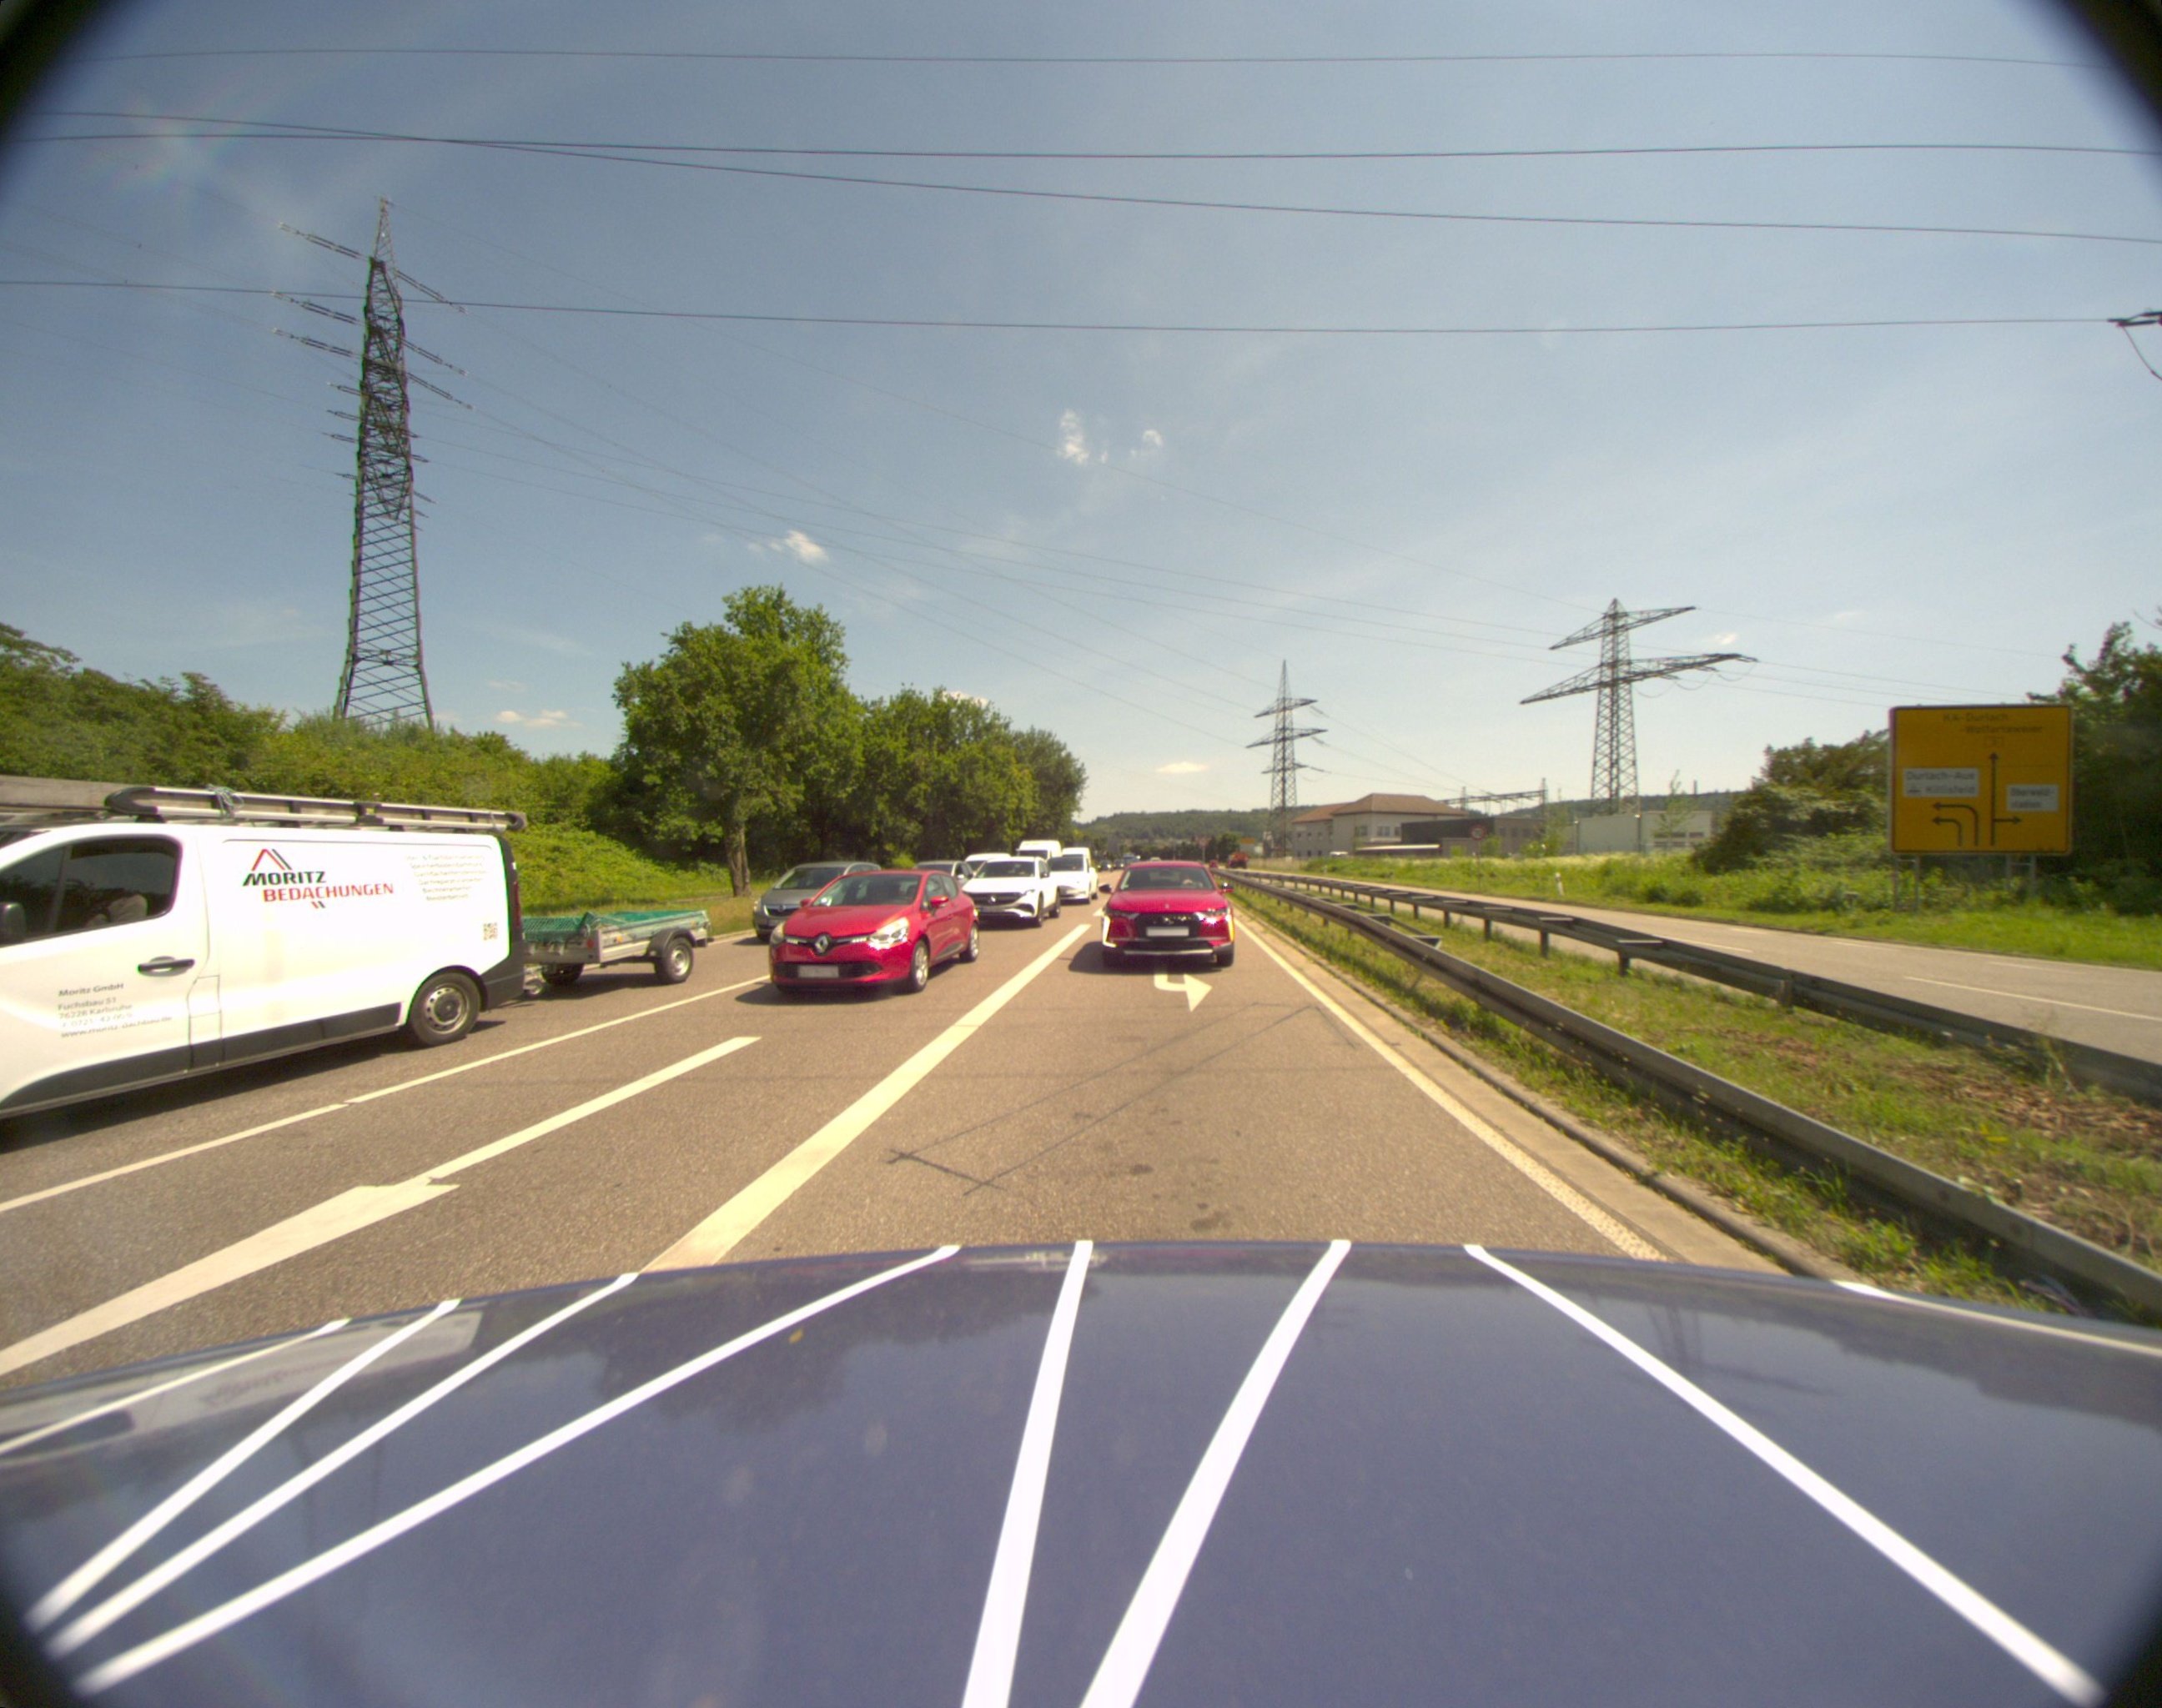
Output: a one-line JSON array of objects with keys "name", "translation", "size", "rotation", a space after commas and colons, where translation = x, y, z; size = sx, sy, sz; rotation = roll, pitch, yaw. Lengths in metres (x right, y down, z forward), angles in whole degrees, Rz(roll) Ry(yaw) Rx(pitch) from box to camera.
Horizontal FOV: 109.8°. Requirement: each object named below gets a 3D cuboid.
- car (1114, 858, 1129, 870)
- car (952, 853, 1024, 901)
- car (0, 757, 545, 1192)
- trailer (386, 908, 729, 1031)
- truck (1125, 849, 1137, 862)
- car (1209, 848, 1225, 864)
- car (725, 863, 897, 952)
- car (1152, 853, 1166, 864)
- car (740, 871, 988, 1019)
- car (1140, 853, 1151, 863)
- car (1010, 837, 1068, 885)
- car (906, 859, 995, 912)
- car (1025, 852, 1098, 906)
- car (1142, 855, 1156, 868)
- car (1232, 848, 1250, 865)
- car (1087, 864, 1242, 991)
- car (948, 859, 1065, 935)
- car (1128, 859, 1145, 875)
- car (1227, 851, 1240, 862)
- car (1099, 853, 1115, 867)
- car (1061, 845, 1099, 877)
[{"name": "car", "translation": [6.208, 1.522, 116.655], "size": [1.997, 1.808, 4.001], "rotation": [-1, 1, 7]}, {"name": "car", "translation": [-3.745, 0.865, 31.579], "size": [1.808, 1.790, 5.040], "rotation": [-1, 0, 6]}, {"name": "car", "translation": [-6.662, 0.664, 5.196], "size": [1.936, 2.335, 5.077], "rotation": [-1, 0, 6]}, {"name": "trailer", "translation": [-6.132, 1.303, 9.419], "size": [1.709, 1.000, 3.325], "rotation": [-1, 0, 7]}, {"name": "truck", "translation": [10.033, 0.271, 151.744], "size": [2.169, 2.428, 4.911], "rotation": [-1, 1, 4]}, {"name": "car", "translation": [25.688, 0.330, 143.656], "size": [2.605, 3.043, 5.641], "rotation": [0, 0, 6]}, {"name": "car", "translation": [-5.553, 1.026, 16.227], "size": [1.768, 1.586, 4.167], "rotation": [0, 0, 7]}, {"name": "car", "translation": [12.210, 0.685, 119.197], "size": [1.997, 1.752, 4.002], "rotation": [0, 0, 8]}, {"name": "car", "translation": [-2.563, 1.016, 10.091], "size": [1.746, 1.453, 4.067], "rotation": [-1, 0, 6]}, {"name": "car", "translation": [14.104, 0.814, 166.603], "size": [1.997, 2.002, 4.002], "rotation": [-1, 1, 10]}, {"name": "car", "translation": [-2.357, 0.373, 44.823], "size": [2.231, 2.592, 7.022], "rotation": [-1, 0, 6]}, {"name": "car", "translation": [-4.269, 0.984, 25.516], "size": [1.746, 1.585, 4.274], "rotation": [-1, 0, 7]}, {"name": "car", "translation": [-0.574, 0.794, 26.205], "size": [2.021, 1.671, 4.001], "rotation": [-2, 0, 5]}, {"name": "car", "translation": [11.267, 1.257, 125.325], "size": [1.997, 2.002, 4.003], "rotation": [1, 0, 11]}, {"name": "car", "translation": [29.224, 0.364, 139.040], "size": [2.605, 3.043, 5.641], "rotation": [1, 0, 6]}, {"name": "car", "translation": [1.274, 0.932, 11.449], "size": [1.845, 1.453, 4.416], "rotation": [-1, 0, 7]}, {"name": "car", "translation": [-1.639, 0.930, 18.294], "size": [1.849, 1.559, 4.365], "rotation": [-1, 0, 7]}, {"name": "car", "translation": [6.673, 1.549, 91.134], "size": [1.877, 1.674, 4.001], "rotation": [-1, 1, 4]}, {"name": "car", "translation": [29.803, 0.495, 148.576], "size": [1.998, 1.904, 4.000], "rotation": [-2, 1, 3]}, {"name": "car", "translation": [3.370, 0.807, 99.513], "size": [1.877, 1.674, 4.001], "rotation": [-1, 1, 4]}, {"name": "car", "translation": [-0.027, 0.535, 62.519], "size": [2.307, 2.408, 5.817], "rotation": [-2, 0, 7]}]
